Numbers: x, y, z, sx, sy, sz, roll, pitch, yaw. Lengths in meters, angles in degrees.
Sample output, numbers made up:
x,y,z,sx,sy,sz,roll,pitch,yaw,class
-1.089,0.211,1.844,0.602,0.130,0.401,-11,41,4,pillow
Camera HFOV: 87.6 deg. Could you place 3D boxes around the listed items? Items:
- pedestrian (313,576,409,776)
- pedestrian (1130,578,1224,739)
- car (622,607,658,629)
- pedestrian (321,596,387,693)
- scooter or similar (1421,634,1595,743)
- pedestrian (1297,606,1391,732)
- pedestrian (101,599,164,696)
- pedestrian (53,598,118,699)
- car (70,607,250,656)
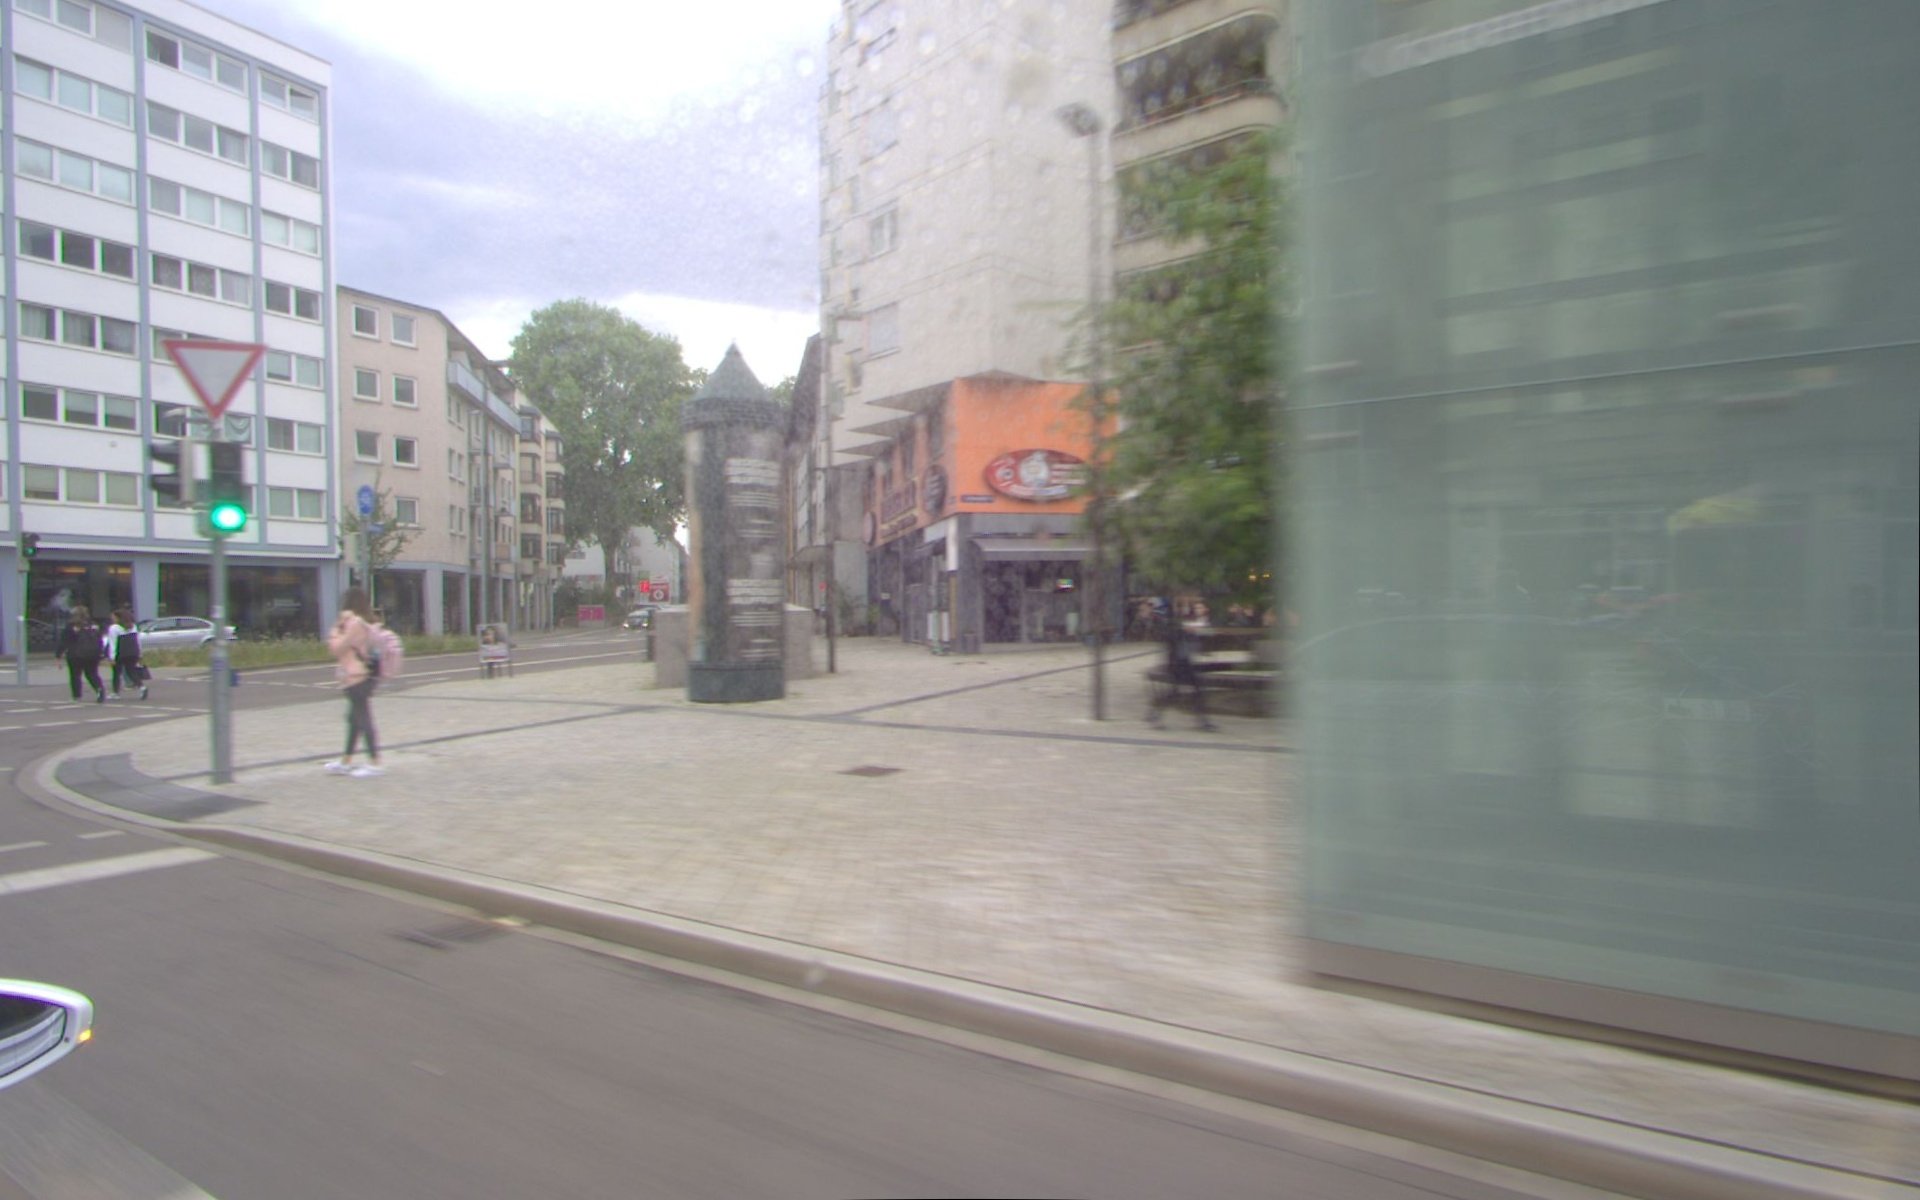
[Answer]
x,y,z,sx,sy,sz,roll,pitch,yaw,class
-5.568,0.687,9.319,0.592,1.784,0.522,0,0,24,pedestrian
2.404,0.621,11.056,0.856,1.707,0.624,-1,2,28,pedestrian
-23.015,1.249,72.215,1.715,1.501,4.564,-1,0,-9,car
-12.400,0.889,20.474,1.140,1.888,0.798,0,2,42,pedestrian
5.620,0.877,10.286,1.565,0.961,0.723,-2,2,-20,scooter or similar
4.344,0.743,11.295,0.723,1.315,1.040,0,2,37,pedestrian
-15.499,0.880,18.759,0.767,1.784,0.621,0,0,24,pedestrian
-15.820,0.865,18.114,0.767,1.784,0.621,0,0,24,pedestrian
-27.677,1.052,34.816,1.722,1.501,4.546,-1,0,29,car
